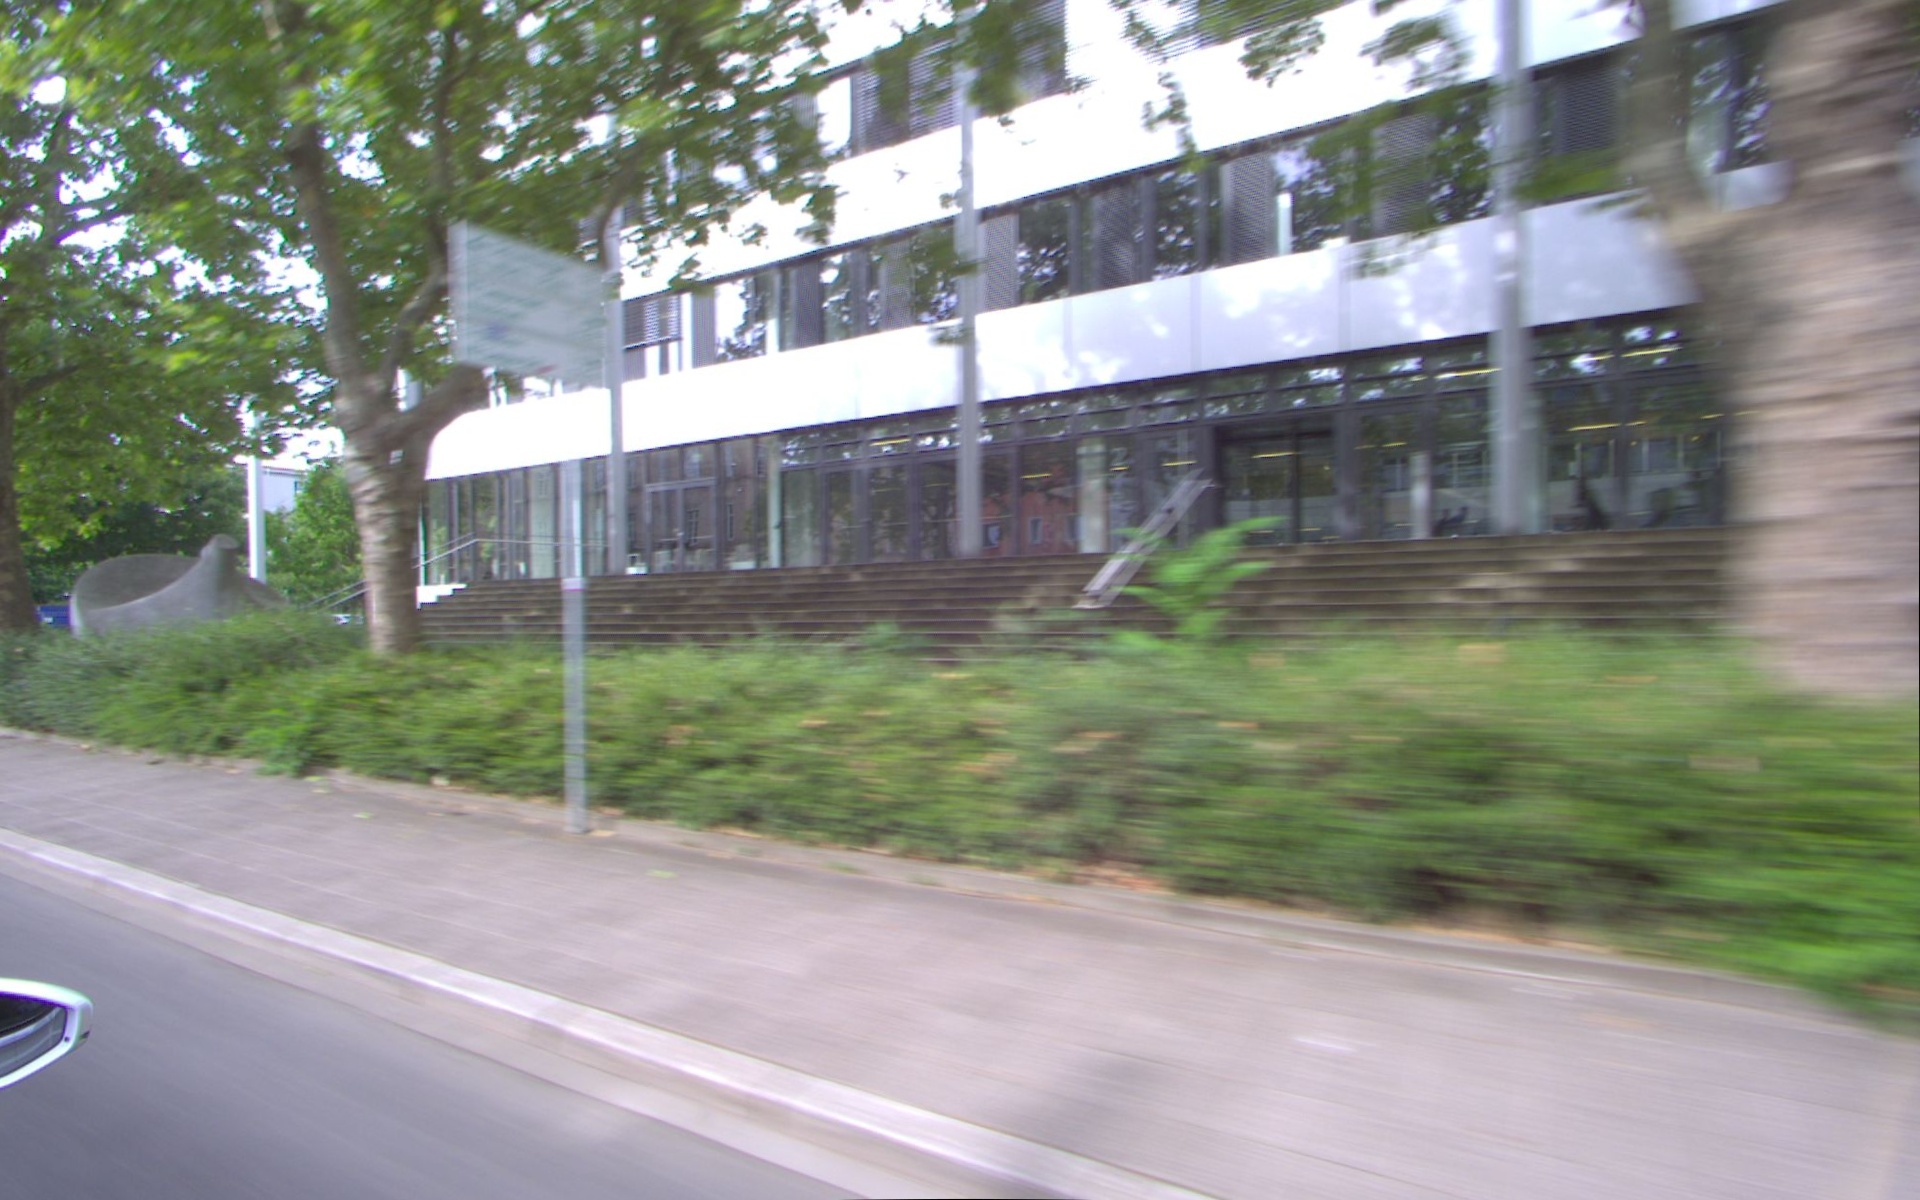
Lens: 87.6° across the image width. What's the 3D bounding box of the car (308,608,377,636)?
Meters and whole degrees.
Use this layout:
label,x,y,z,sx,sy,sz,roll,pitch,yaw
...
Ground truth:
label,x,y,z,sx,sy,sz,roll,pitch,yaw
car,-38.778,1.381,62.841,4.090,1.673,1.959,-1,0,29
